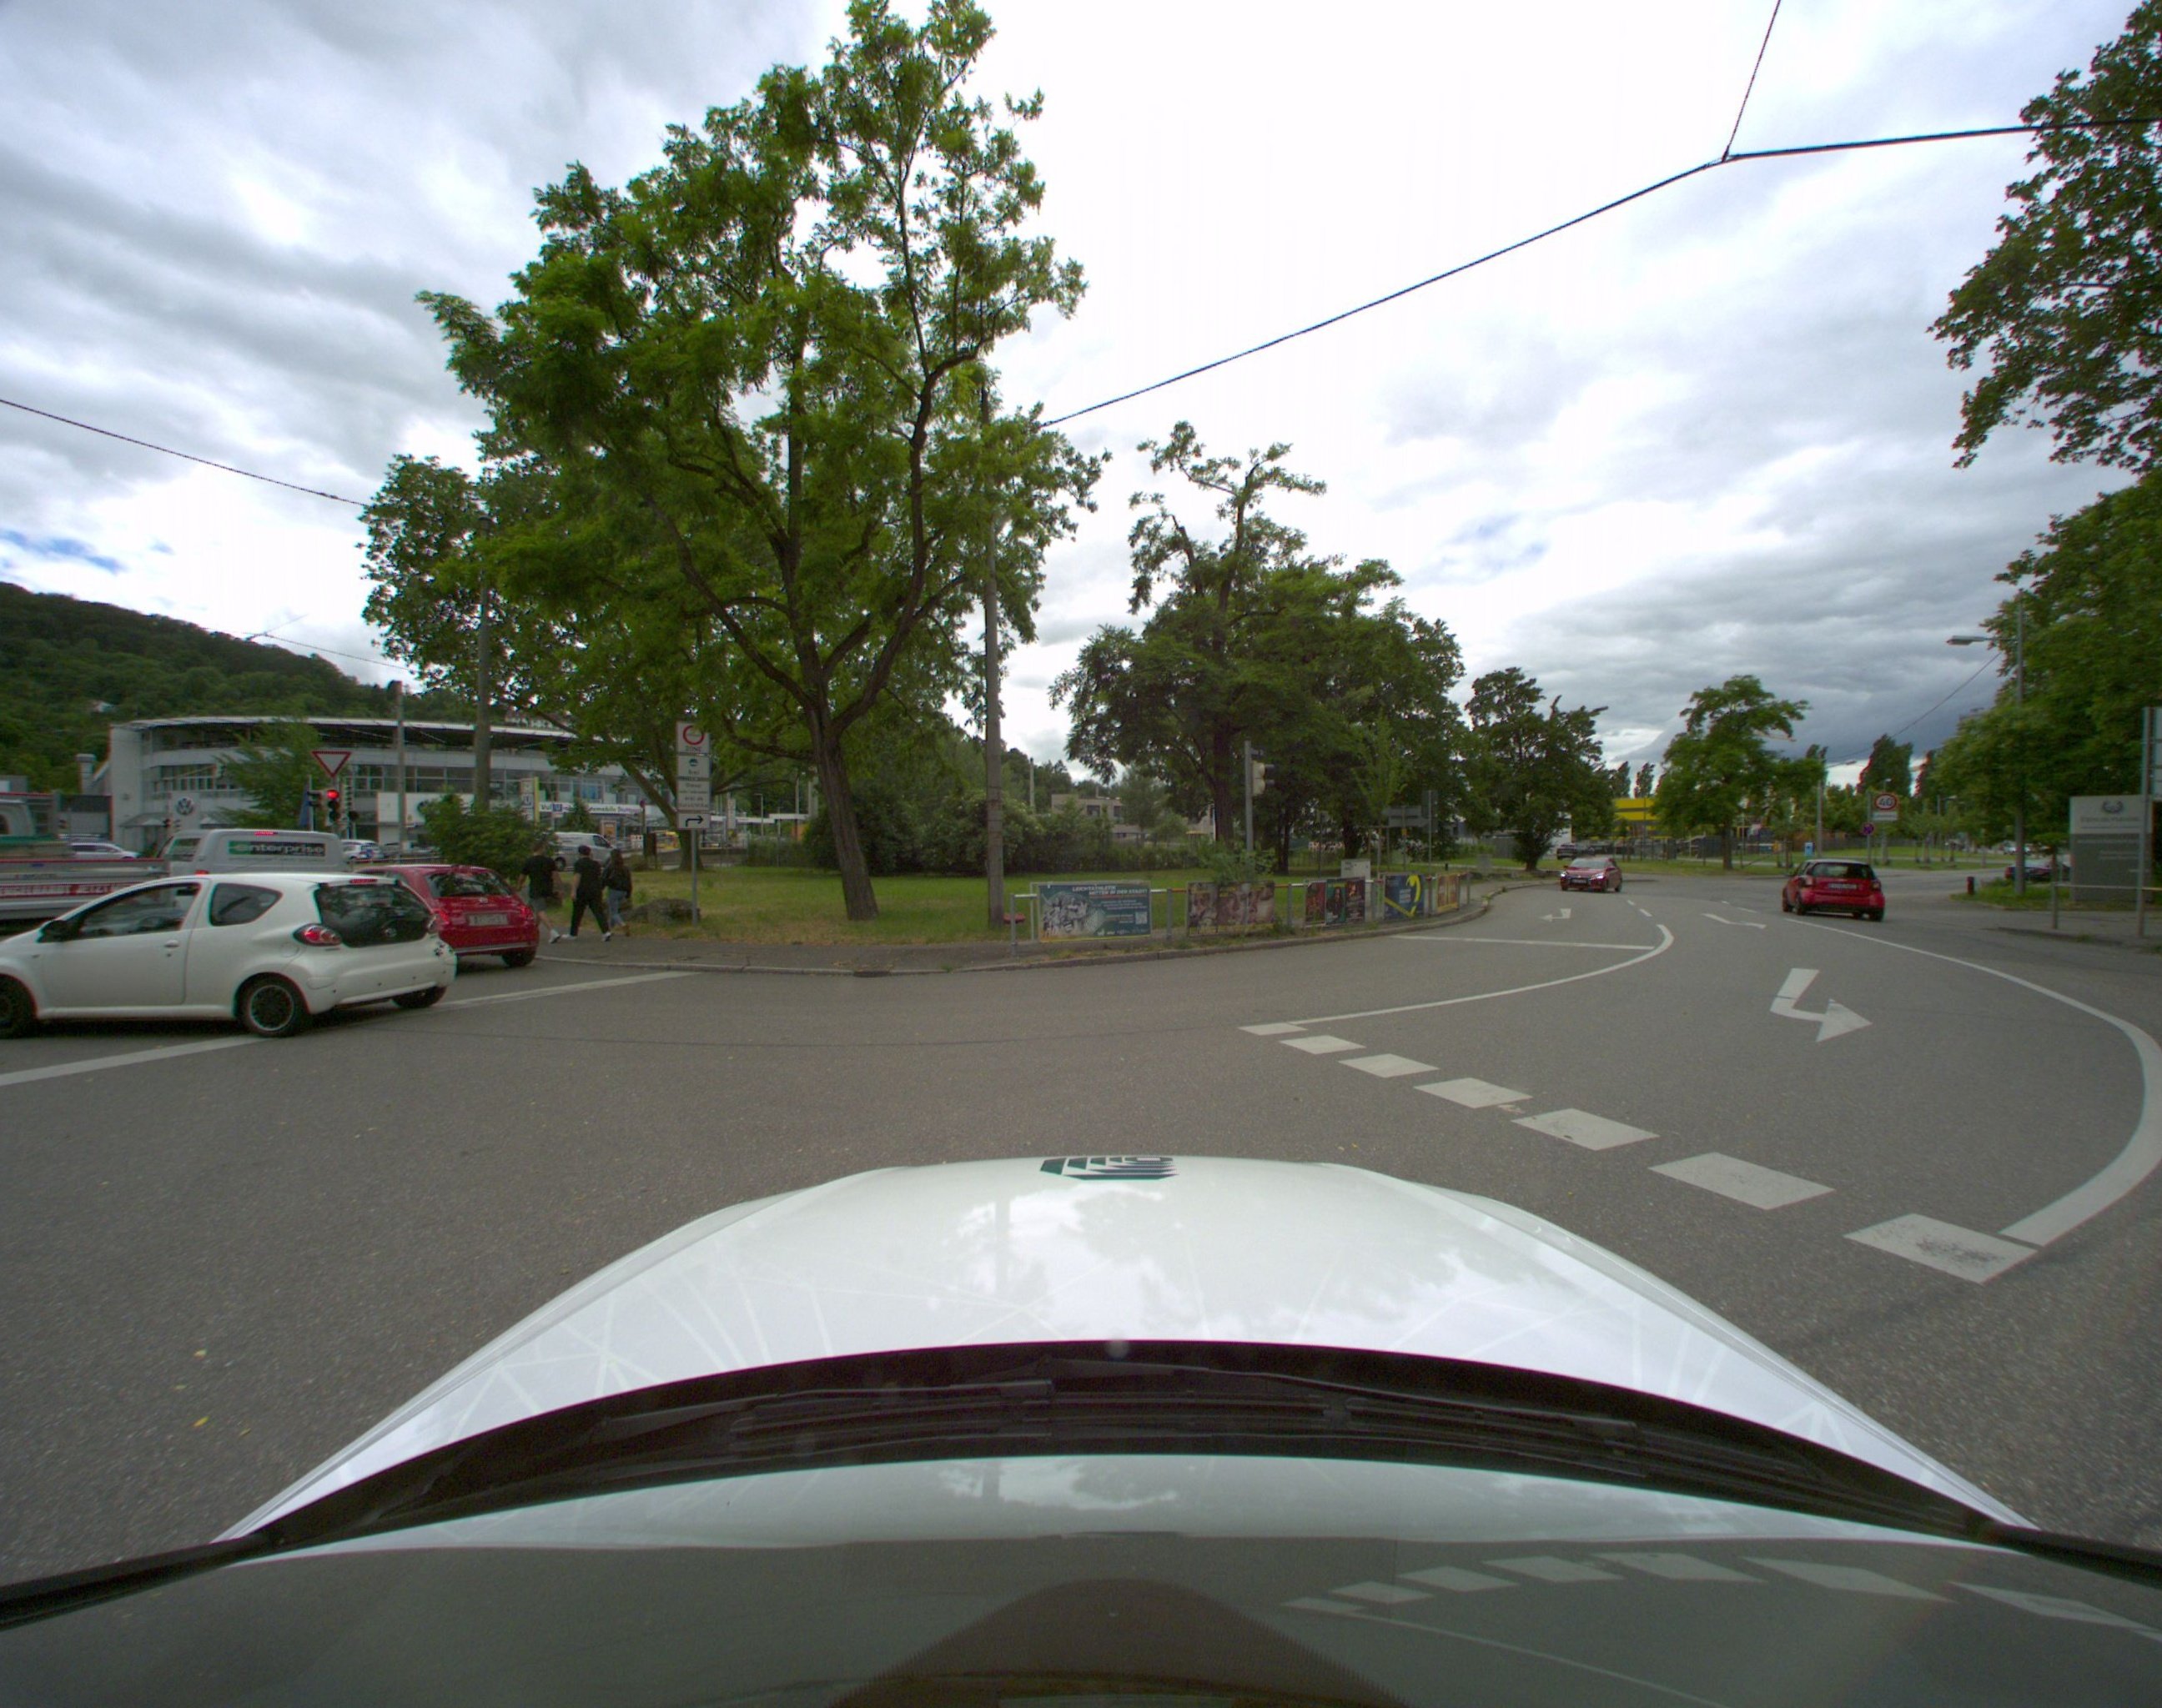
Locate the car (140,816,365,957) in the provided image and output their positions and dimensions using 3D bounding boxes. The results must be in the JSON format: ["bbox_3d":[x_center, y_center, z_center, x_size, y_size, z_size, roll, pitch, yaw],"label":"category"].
[{"bbox_3d":[-14.694,0.450,14.367,4.700,2.106,2.009,0,2,35],"label":"car"}]

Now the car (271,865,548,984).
[{"bbox_3d":[-9.623,0.913,11.701,3.390,1.457,1.653,0,0,22],"label":"car"}]

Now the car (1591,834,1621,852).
[{"bbox_3d":[61.829,-1.319,95.965,4.242,2.013,1.947,-1,2,-43],"label":"car"}]

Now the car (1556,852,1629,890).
[{"bbox_3d":[21.447,0.667,34.098,3.857,1.465,1.712,-1,0,-45],"label":"car"}]

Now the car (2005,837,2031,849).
[{"bbox_3d":[127.437,-1.508,110.825,3.965,1.536,2.022,-1,-2,-45],"label":"car"}]

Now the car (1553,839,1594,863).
[{"bbox_3d":[42.984,-0.333,71.052,4.242,2.013,1.947,-1,2,-43],"label":"car"}]

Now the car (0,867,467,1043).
[{"bbox_3d":[-8.256,0.890,7.842,3.406,1.432,1.645,-1,1,2],"label":"car"}]

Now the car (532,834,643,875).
[{"bbox_3d":[-26.141,-0.043,43.383,1.953,2.013,5.318,0,1,11],"label":"car"}]

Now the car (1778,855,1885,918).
[{"bbox_3d":[20.005,0.805,21.824,1.695,1.464,3.040,0,2,35],"label":"car"}]

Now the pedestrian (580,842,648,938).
[{"bbox_3d":[-8.673,0.647,15.140,0.780,1.739,0.698,0,1,15],"label":"pedestrian"}]

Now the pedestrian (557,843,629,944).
[{"bbox_3d":[-8.611,0.674,14.384,0.780,1.714,0.698,0,1,15],"label":"pedestrian"}]

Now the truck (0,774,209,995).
[{"bbox_3d":[-14.373,0.329,10.246,5.959,2.397,2.442,0,1,20],"label":"truck"}]

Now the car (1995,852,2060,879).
[{"bbox_3d":[55.266,0.652,47.547,3.379,1.490,1.702,0,1,-27],"label":"car"}]

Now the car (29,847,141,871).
[{"bbox_3d":[-69.322,0.285,56.749,1.753,1.533,4.843,0,1,36],"label":"car"}]

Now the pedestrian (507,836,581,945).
[{"bbox_3d":[-9.420,0.622,14.293,0.780,1.857,0.698,0,1,15],"label":"pedestrian"}]
